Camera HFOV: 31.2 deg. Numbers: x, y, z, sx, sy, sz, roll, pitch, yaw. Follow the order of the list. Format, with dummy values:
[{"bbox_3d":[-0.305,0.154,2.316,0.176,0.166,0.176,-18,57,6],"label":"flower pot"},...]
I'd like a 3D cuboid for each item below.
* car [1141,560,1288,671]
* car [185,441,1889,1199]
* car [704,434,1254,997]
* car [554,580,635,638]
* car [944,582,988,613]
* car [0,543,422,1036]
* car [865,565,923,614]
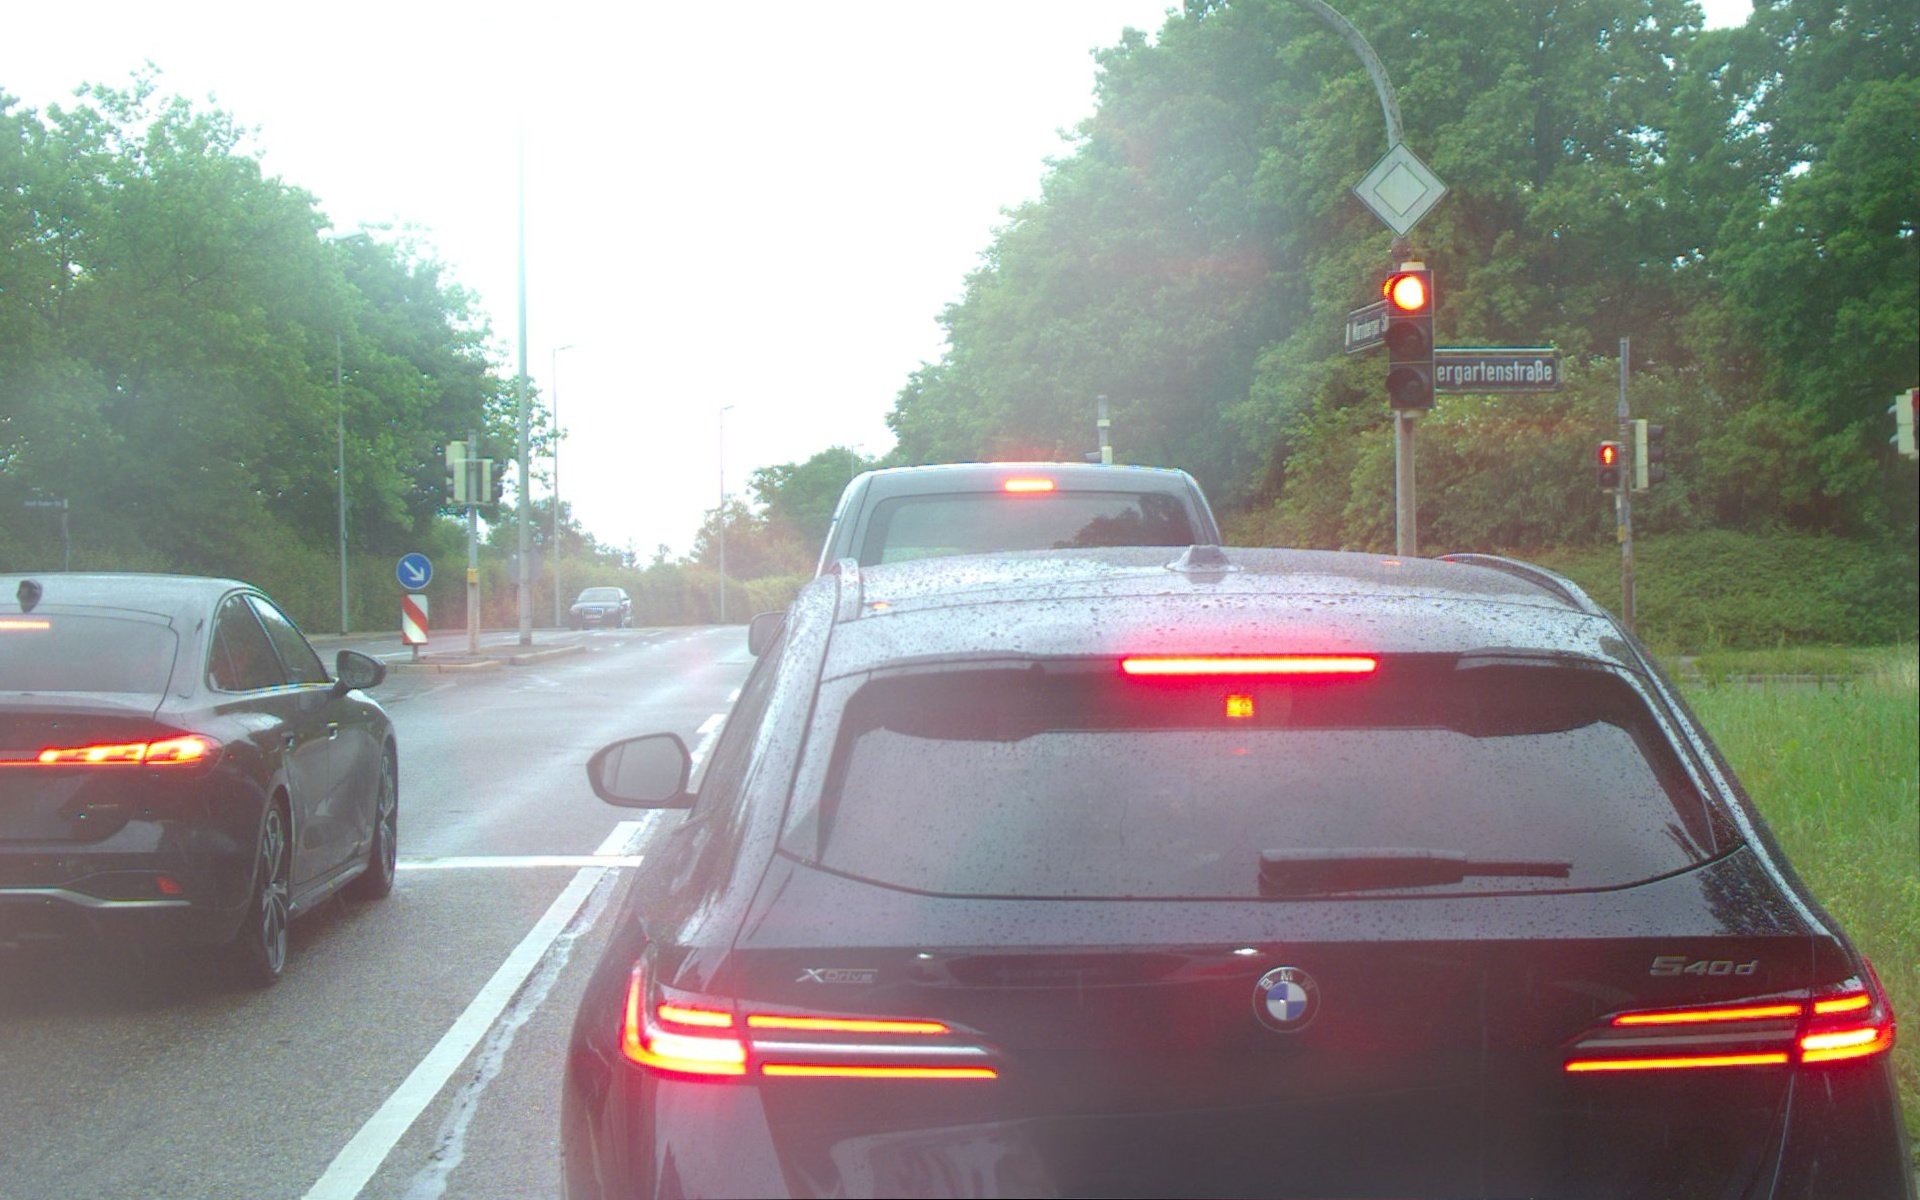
[{"bbox_3d":[3.843,0.214,52.445,1.873,1.537,3.952,-2,0,0],"label":"car"},{"bbox_3d":[0.190,0.605,6.140,1.898,1.546,4.614,0,0,3],"label":"car"},{"bbox_3d":[0.059,0.368,13.375,1.818,1.862,3.952,0,0,0],"label":"car"},{"bbox_3d":[-12.177,0.298,114.668,1.994,1.820,4.000,-2,0,3],"label":"car"},{"bbox_3d":[0.399,-0.185,209.299,2.106,1.759,4.867,-2,0,6],"label":"car"},{"bbox_3d":[-3.312,0.611,13.009,1.993,1.522,4.328,-2,0,-3],"label":"car"},{"bbox_3d":[-2.039,-0.328,107.130,1.697,1.422,3.514,-2,0,0],"label":"car"}]
